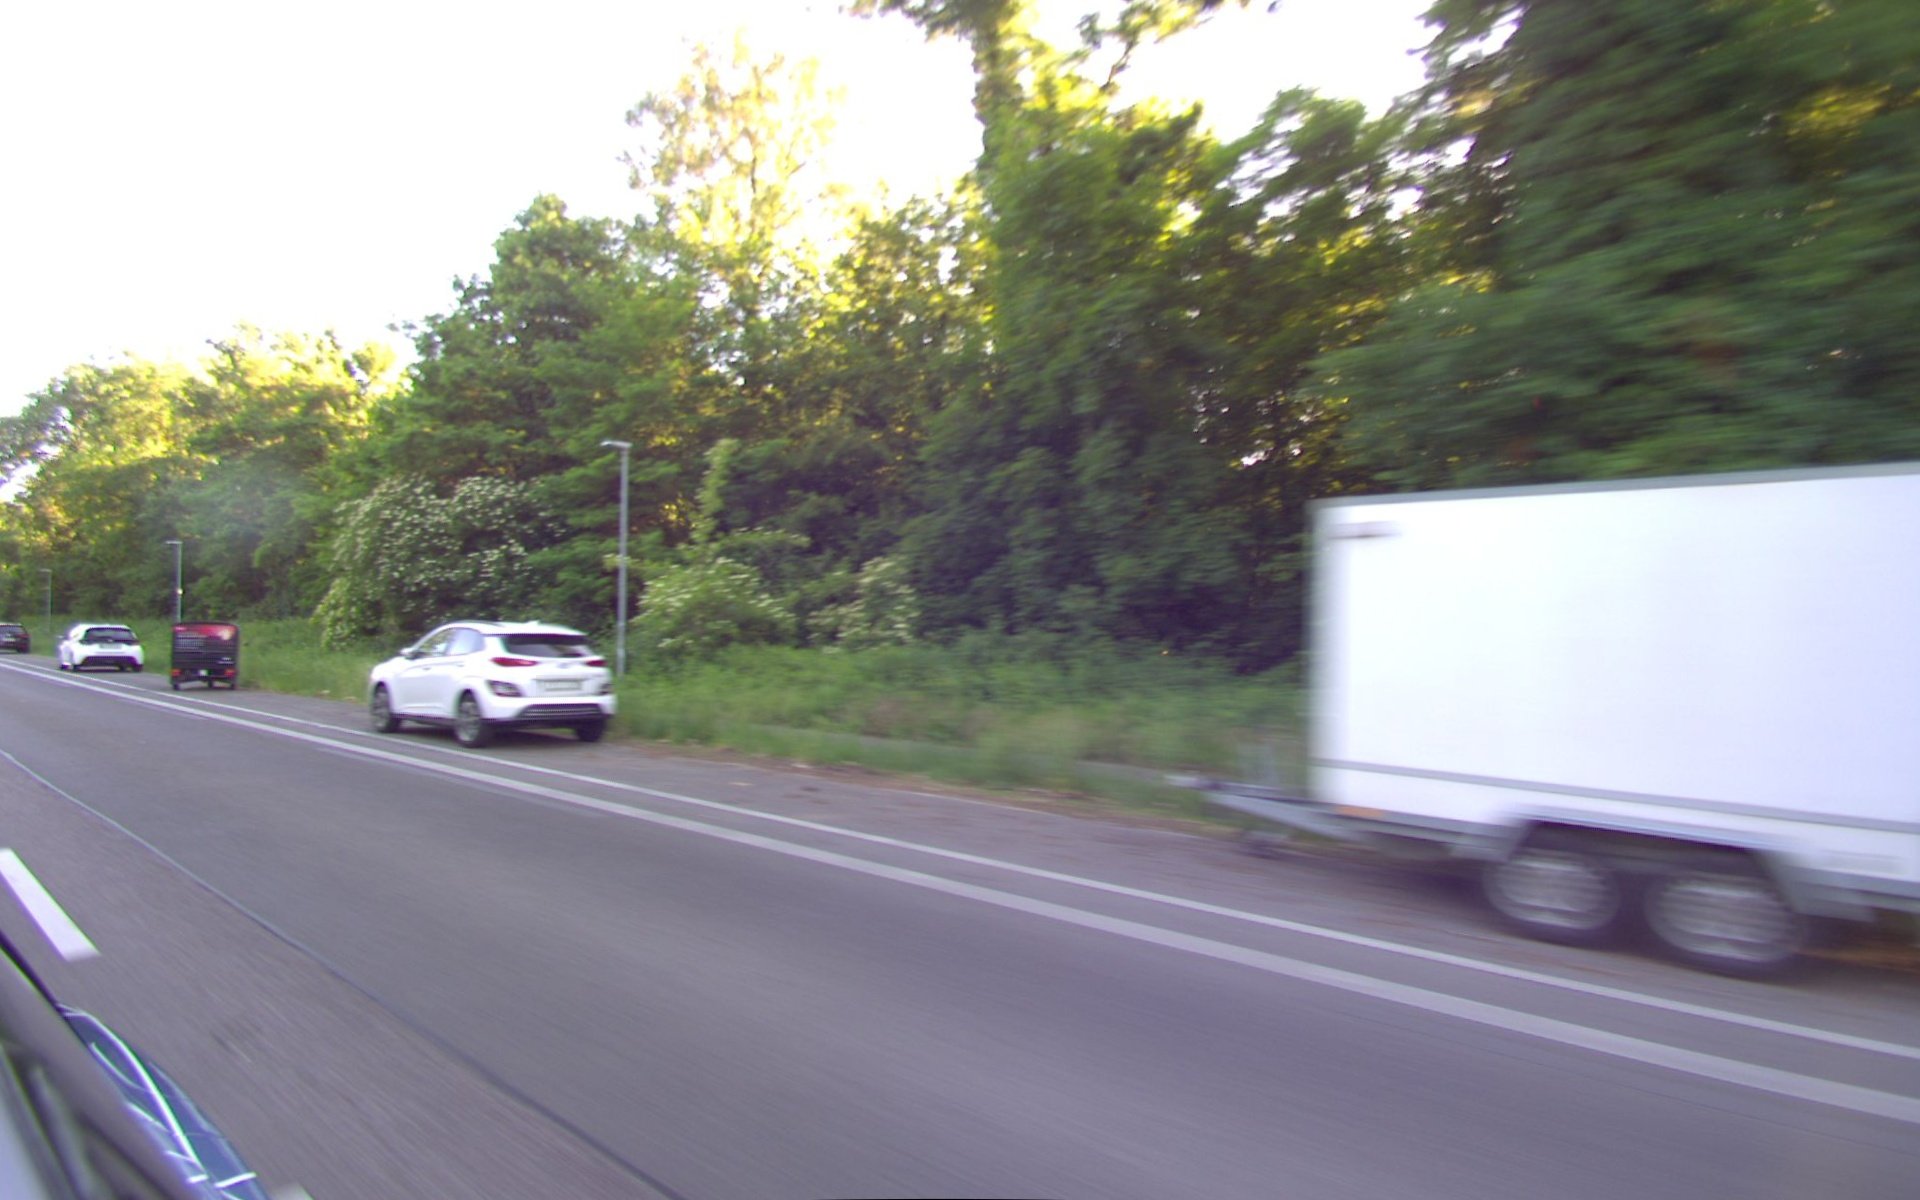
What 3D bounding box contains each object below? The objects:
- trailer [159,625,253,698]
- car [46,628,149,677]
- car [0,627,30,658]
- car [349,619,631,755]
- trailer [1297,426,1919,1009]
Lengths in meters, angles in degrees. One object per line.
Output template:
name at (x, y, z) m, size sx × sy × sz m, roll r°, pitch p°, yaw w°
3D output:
trailer at (-17.591, 1.393, 23.706) m, size 1.376 × 1.586 × 2.683 m, roll 1°, pitch -2°, yaw -29°
car at (-27.526, 1.656, 32.252) m, size 4.069 × 1.462 × 1.847 m, roll -1°, pitch -4°, yaw 41°
car at (-47.235, 2.062, 49.644) m, size 4.781 × 1.475 × 1.835 m, roll -1°, pitch -2°, yaw 41°
car at (-6.491, 1.098, 13.795) m, size 4.202 × 1.583 × 1.796 m, roll -1°, pitch -4°, yaw 39°
trailer at (3.893, 0.506, 5.348) m, size 3.486 × 2.311 × 2.052 m, roll -1°, pitch -3°, yaw 43°
